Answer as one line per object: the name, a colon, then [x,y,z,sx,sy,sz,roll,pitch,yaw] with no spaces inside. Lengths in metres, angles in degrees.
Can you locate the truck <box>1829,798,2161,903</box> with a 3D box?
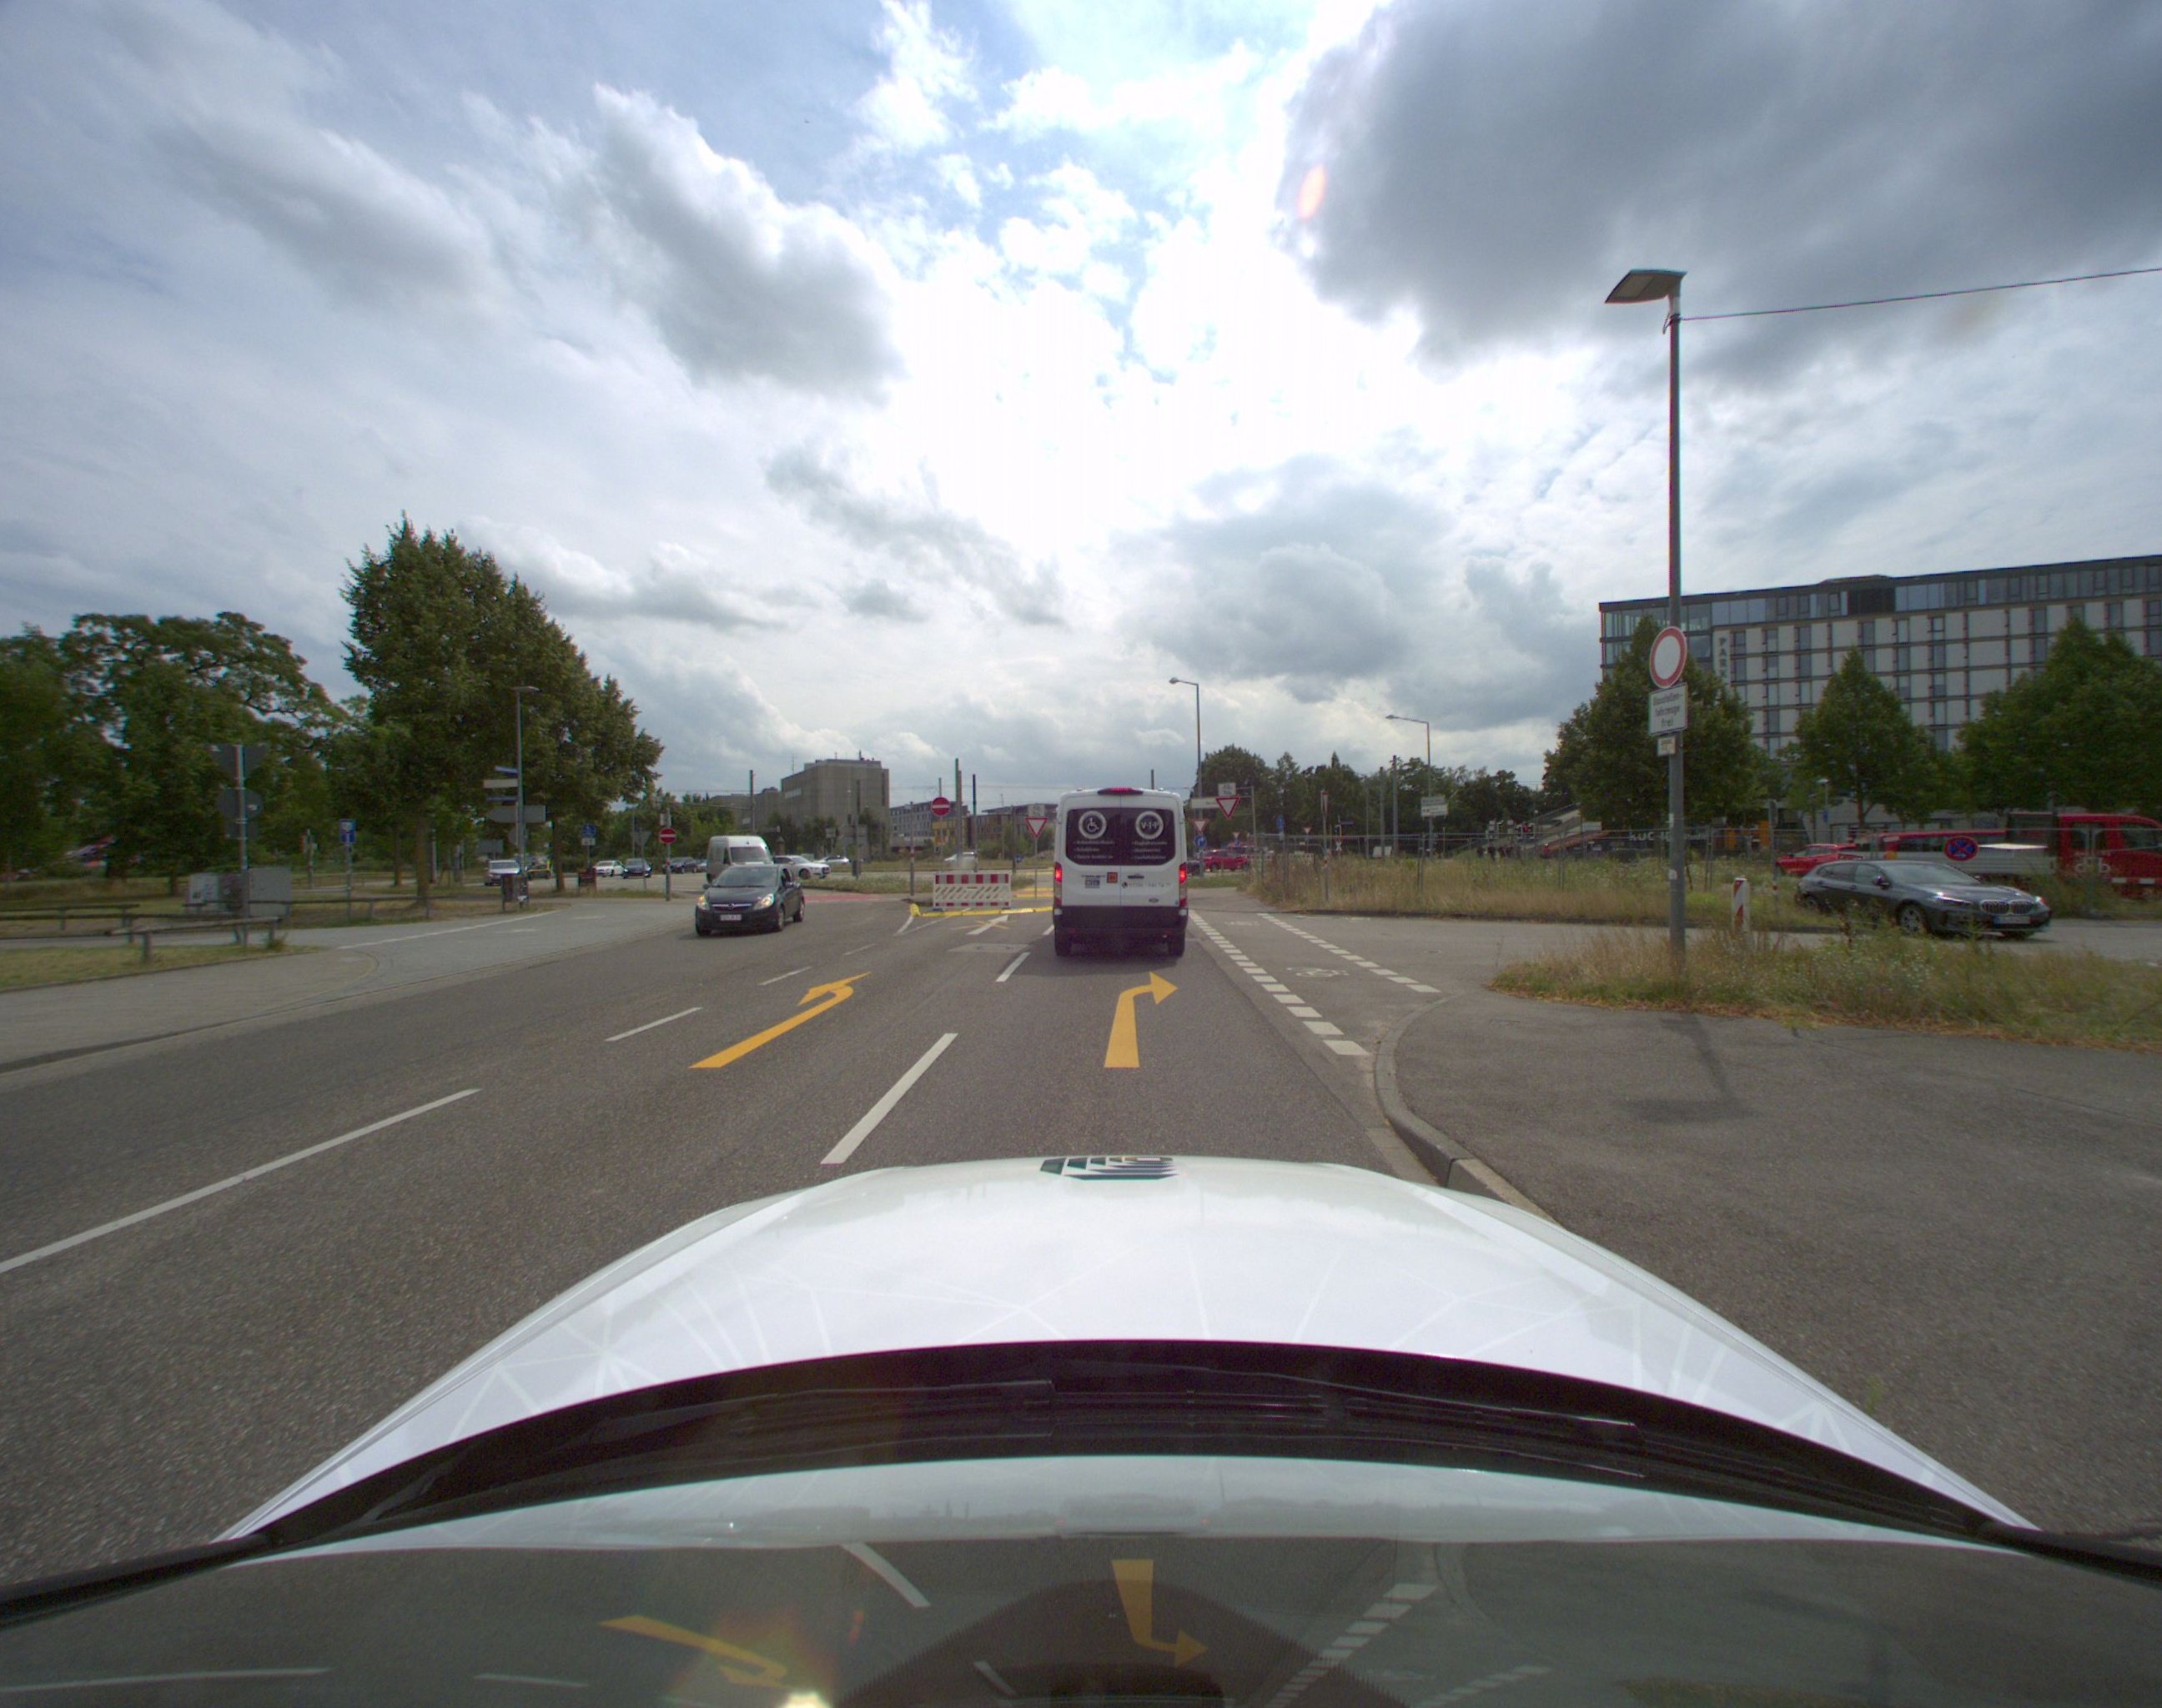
truck: [23.987,-0.067,20.890,6.599,2.426,2.549,-1,0,27]

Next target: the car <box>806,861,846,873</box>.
car: [-29.225,1.514,93.442,4.023,1.192,1.665,-3,0,-43]

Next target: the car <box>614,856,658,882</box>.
car: [-33.435,1.132,61.131,2.011,1.772,3.951,-3,0,-42]

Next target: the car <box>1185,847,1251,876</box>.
car: [9.208,0.495,54.775,4.005,1.662,1.876,-3,0,-24]

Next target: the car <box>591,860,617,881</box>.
car: [-41.726,1.438,71.269,1.773,1.772,3.963,-3,0,-28]

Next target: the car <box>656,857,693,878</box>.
car: [-38.476,1.259,77.144,1.759,1.771,3.993,-3,0,-5]

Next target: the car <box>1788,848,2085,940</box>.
car: [16.673,0.679,16.272,1.840,1.497,4.348,-3,0,10]

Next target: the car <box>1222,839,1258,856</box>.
car: [17.938,-0.698,91.791,2.013,1.816,4.384,-3,0,-19]

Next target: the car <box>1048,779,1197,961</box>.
car: [0.672,0.227,13.558,2.054,2.540,4.002,1,0,2]

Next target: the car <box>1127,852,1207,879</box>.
car: [5.062,0.649,47.866,4.360,1.354,1.610,-3,0,-22]

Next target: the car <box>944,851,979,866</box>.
car: [-15.387,0.574,104.699,4.015,1.772,1.750,-3,0,-32]

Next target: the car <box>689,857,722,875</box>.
car: [-38.665,1.208,83.842,1.759,1.771,3.993,-3,0,-5]

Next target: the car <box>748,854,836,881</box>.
car: [-17.863,0.850,50.345,4.988,1.578,1.873,-1,0,17]

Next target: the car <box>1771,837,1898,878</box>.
car: [30.706,0.139,33.381,1.776,1.562,4.455,-1,0,12]

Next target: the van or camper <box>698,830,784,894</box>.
van or camper: [-16.116,0.396,38.347,2.167,2.725,6.207,-3,1,-37]

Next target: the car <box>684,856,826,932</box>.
car: [-7.255,0.814,18.594,1.768,1.478,4.250,-1,0,-4]

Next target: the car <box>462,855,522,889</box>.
car: [-37.865,1.165,52.315,3.948,2.013,2.013,-3,0,38]
